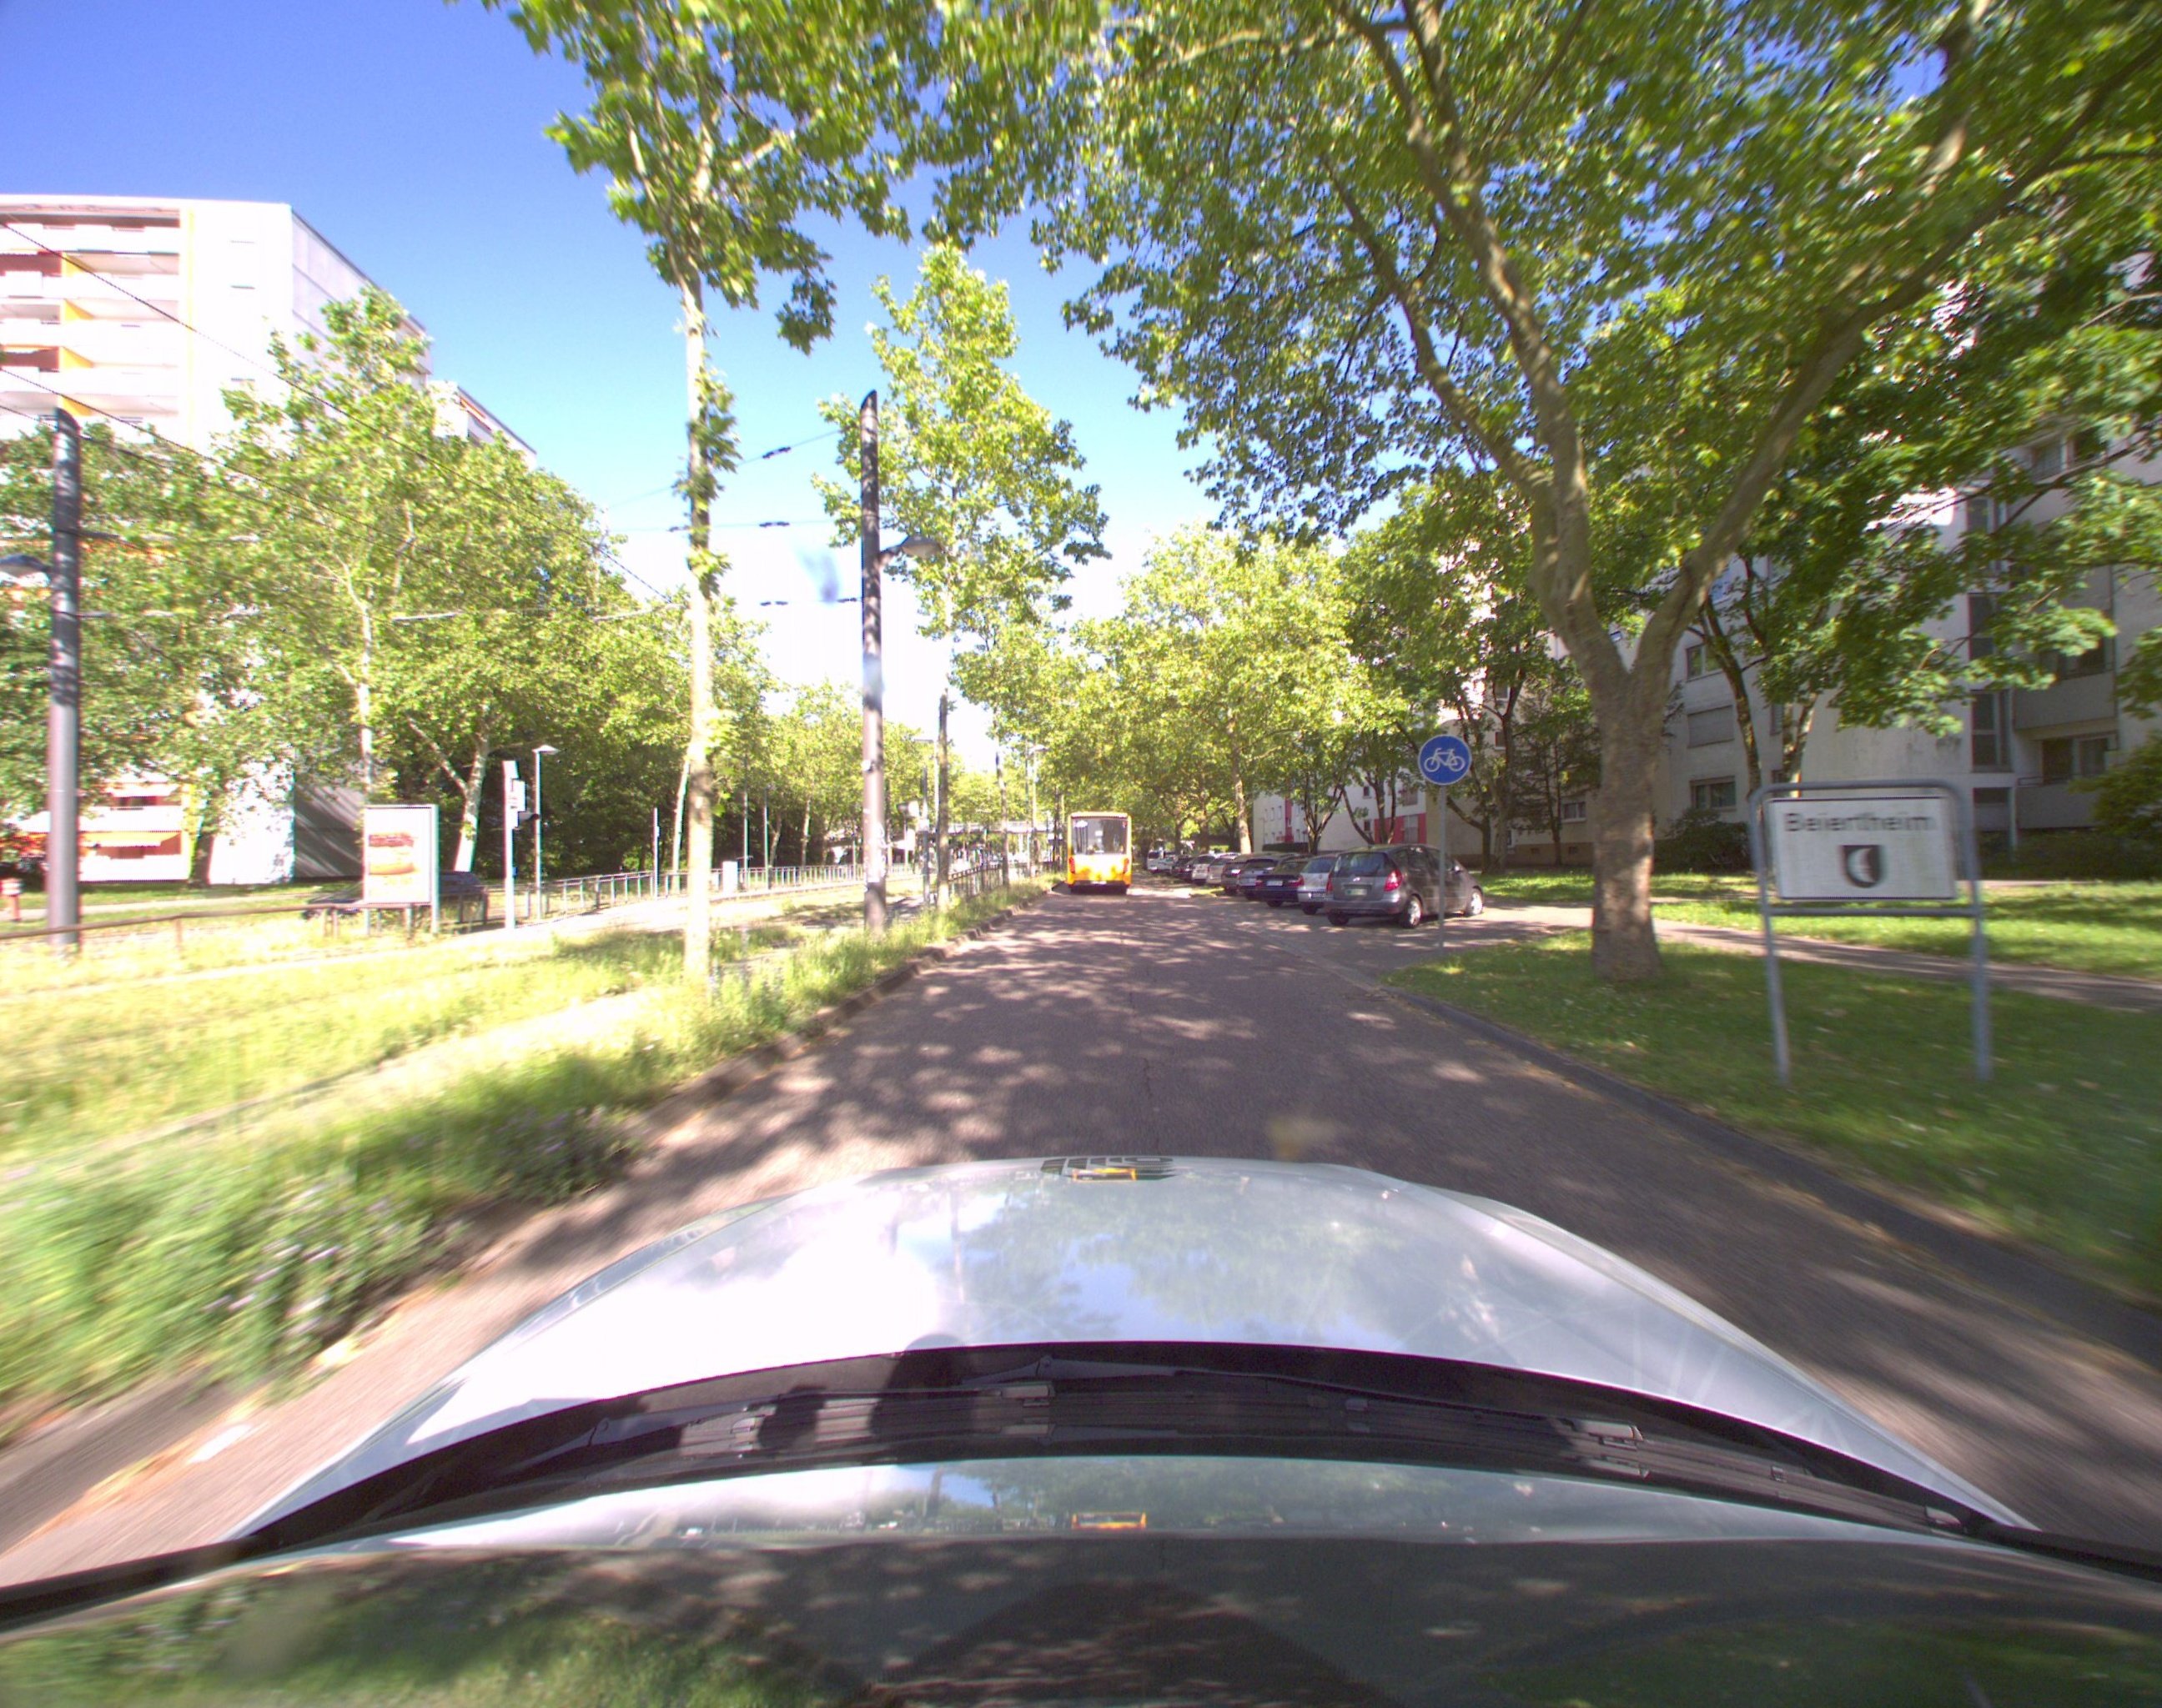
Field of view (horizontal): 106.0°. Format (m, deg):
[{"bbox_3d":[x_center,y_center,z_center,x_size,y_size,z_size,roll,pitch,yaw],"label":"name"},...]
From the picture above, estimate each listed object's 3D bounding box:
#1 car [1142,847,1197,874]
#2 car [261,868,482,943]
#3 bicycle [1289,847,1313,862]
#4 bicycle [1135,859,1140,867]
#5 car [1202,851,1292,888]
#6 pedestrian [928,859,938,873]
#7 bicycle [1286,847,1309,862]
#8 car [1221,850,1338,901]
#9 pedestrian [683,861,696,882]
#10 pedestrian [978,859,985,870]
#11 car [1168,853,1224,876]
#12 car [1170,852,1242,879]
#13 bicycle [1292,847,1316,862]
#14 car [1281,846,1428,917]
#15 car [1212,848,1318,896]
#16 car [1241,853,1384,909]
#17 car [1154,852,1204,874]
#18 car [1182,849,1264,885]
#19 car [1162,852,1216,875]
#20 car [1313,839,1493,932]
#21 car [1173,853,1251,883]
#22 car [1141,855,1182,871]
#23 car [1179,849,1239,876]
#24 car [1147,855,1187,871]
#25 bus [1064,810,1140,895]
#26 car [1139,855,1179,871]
[{"bbox_3d":[7.736,0.575,70.674,4.613,2.052,1.994,-3,-1,-39],"label":"car"},{"bbox_3d":[-17.803,1.220,20.771,1.787,1.608,4.269,-1,0,2],"label":"car"},{"bbox_3d":[18.860,0.046,69.810,1.791,1.129,0.549,-4,0,-4],"label":"bicycle"},{"bbox_3d":[8.248,1.348,119.586,0.588,1.183,1.800,-4,0,1],"label":"bicycle"},{"bbox_3d":[7.424,0.656,36.261,4.021,1.444,1.779,-2,0,-40],"label":"car"},{"bbox_3d":[-12.982,1.065,71.489,0.763,1.183,0.763,-1,-1,2],"label":"pedestrian"},{"bbox_3d":[18.767,0.054,70.445,1.791,1.129,0.499,-4,0,-4],"label":"bicycle"},{"bbox_3d":[6.526,0.670,26.568,3.910,1.445,1.778,-2,0,-43],"label":"car"},{"bbox_3d":[-31.322,1.396,65.178,0.645,1.661,0.650,-1,-1,2],"label":"pedestrian"},{"bbox_3d":[-11.815,1.276,96.919,0.775,1.238,0.722,-1,-1,0],"label":"pedestrian"},{"bbox_3d":[8.232,0.737,58.241,4.023,1.419,1.809,-3,-1,-44],"label":"car"},{"bbox_3d":[7.917,0.684,51.275,4.431,1.428,1.929,-3,-1,-38],"label":"car"},{"bbox_3d":[18.951,0.042,69.164,1.791,1.129,0.499,-4,0,-4],"label":"bicycle"},{"bbox_3d":[6.759,0.631,19.976,3.603,1.492,1.779,-2,0,-41],"label":"car"},{"bbox_3d":[6.776,0.621,29.698,1.777,1.510,4.202,-3,0,44],"label":"car"},{"bbox_3d":[6.592,0.728,23.017,4.168,1.318,1.779,-2,0,-39],"label":"car"},{"bbox_3d":[8.173,0.760,67.665,4.080,1.580,1.810,-3,-1,-42],"label":"car"},{"bbox_3d":[7.049,0.619,40.266,4.020,1.576,1.779,-2,0,-39],"label":"car"},{"bbox_3d":[8.161,0.715,61.142,1.777,1.510,4.238,-4,-1,44],"label":"car"},{"bbox_3d":[6.609,0.574,16.579,3.746,1.593,1.779,-2,0,-40],"label":"car"},{"bbox_3d":[7.240,0.769,44.691,4.617,1.422,1.778,-2,0,-44],"label":"car"},{"bbox_3d":[8.628,0.980,86.874,4.278,1.461,1.779,-3,-1,-39],"label":"car"},{"bbox_3d":[8.693,0.594,55.096,4.022,1.589,1.778,-3,-1,-41],"label":"car"},{"bbox_3d":[8.895,0.909,83.720,4.022,1.468,1.761,-3,-1,-42],"label":"car"},{"bbox_3d":[0.880,-0.005,37.709,2.890,3.267,12.218,-1,0,1],"label":"bus"},{"bbox_3d":[8.640,0.985,90.013,4.278,1.461,1.779,-3,-1,-39],"label":"car"}]
